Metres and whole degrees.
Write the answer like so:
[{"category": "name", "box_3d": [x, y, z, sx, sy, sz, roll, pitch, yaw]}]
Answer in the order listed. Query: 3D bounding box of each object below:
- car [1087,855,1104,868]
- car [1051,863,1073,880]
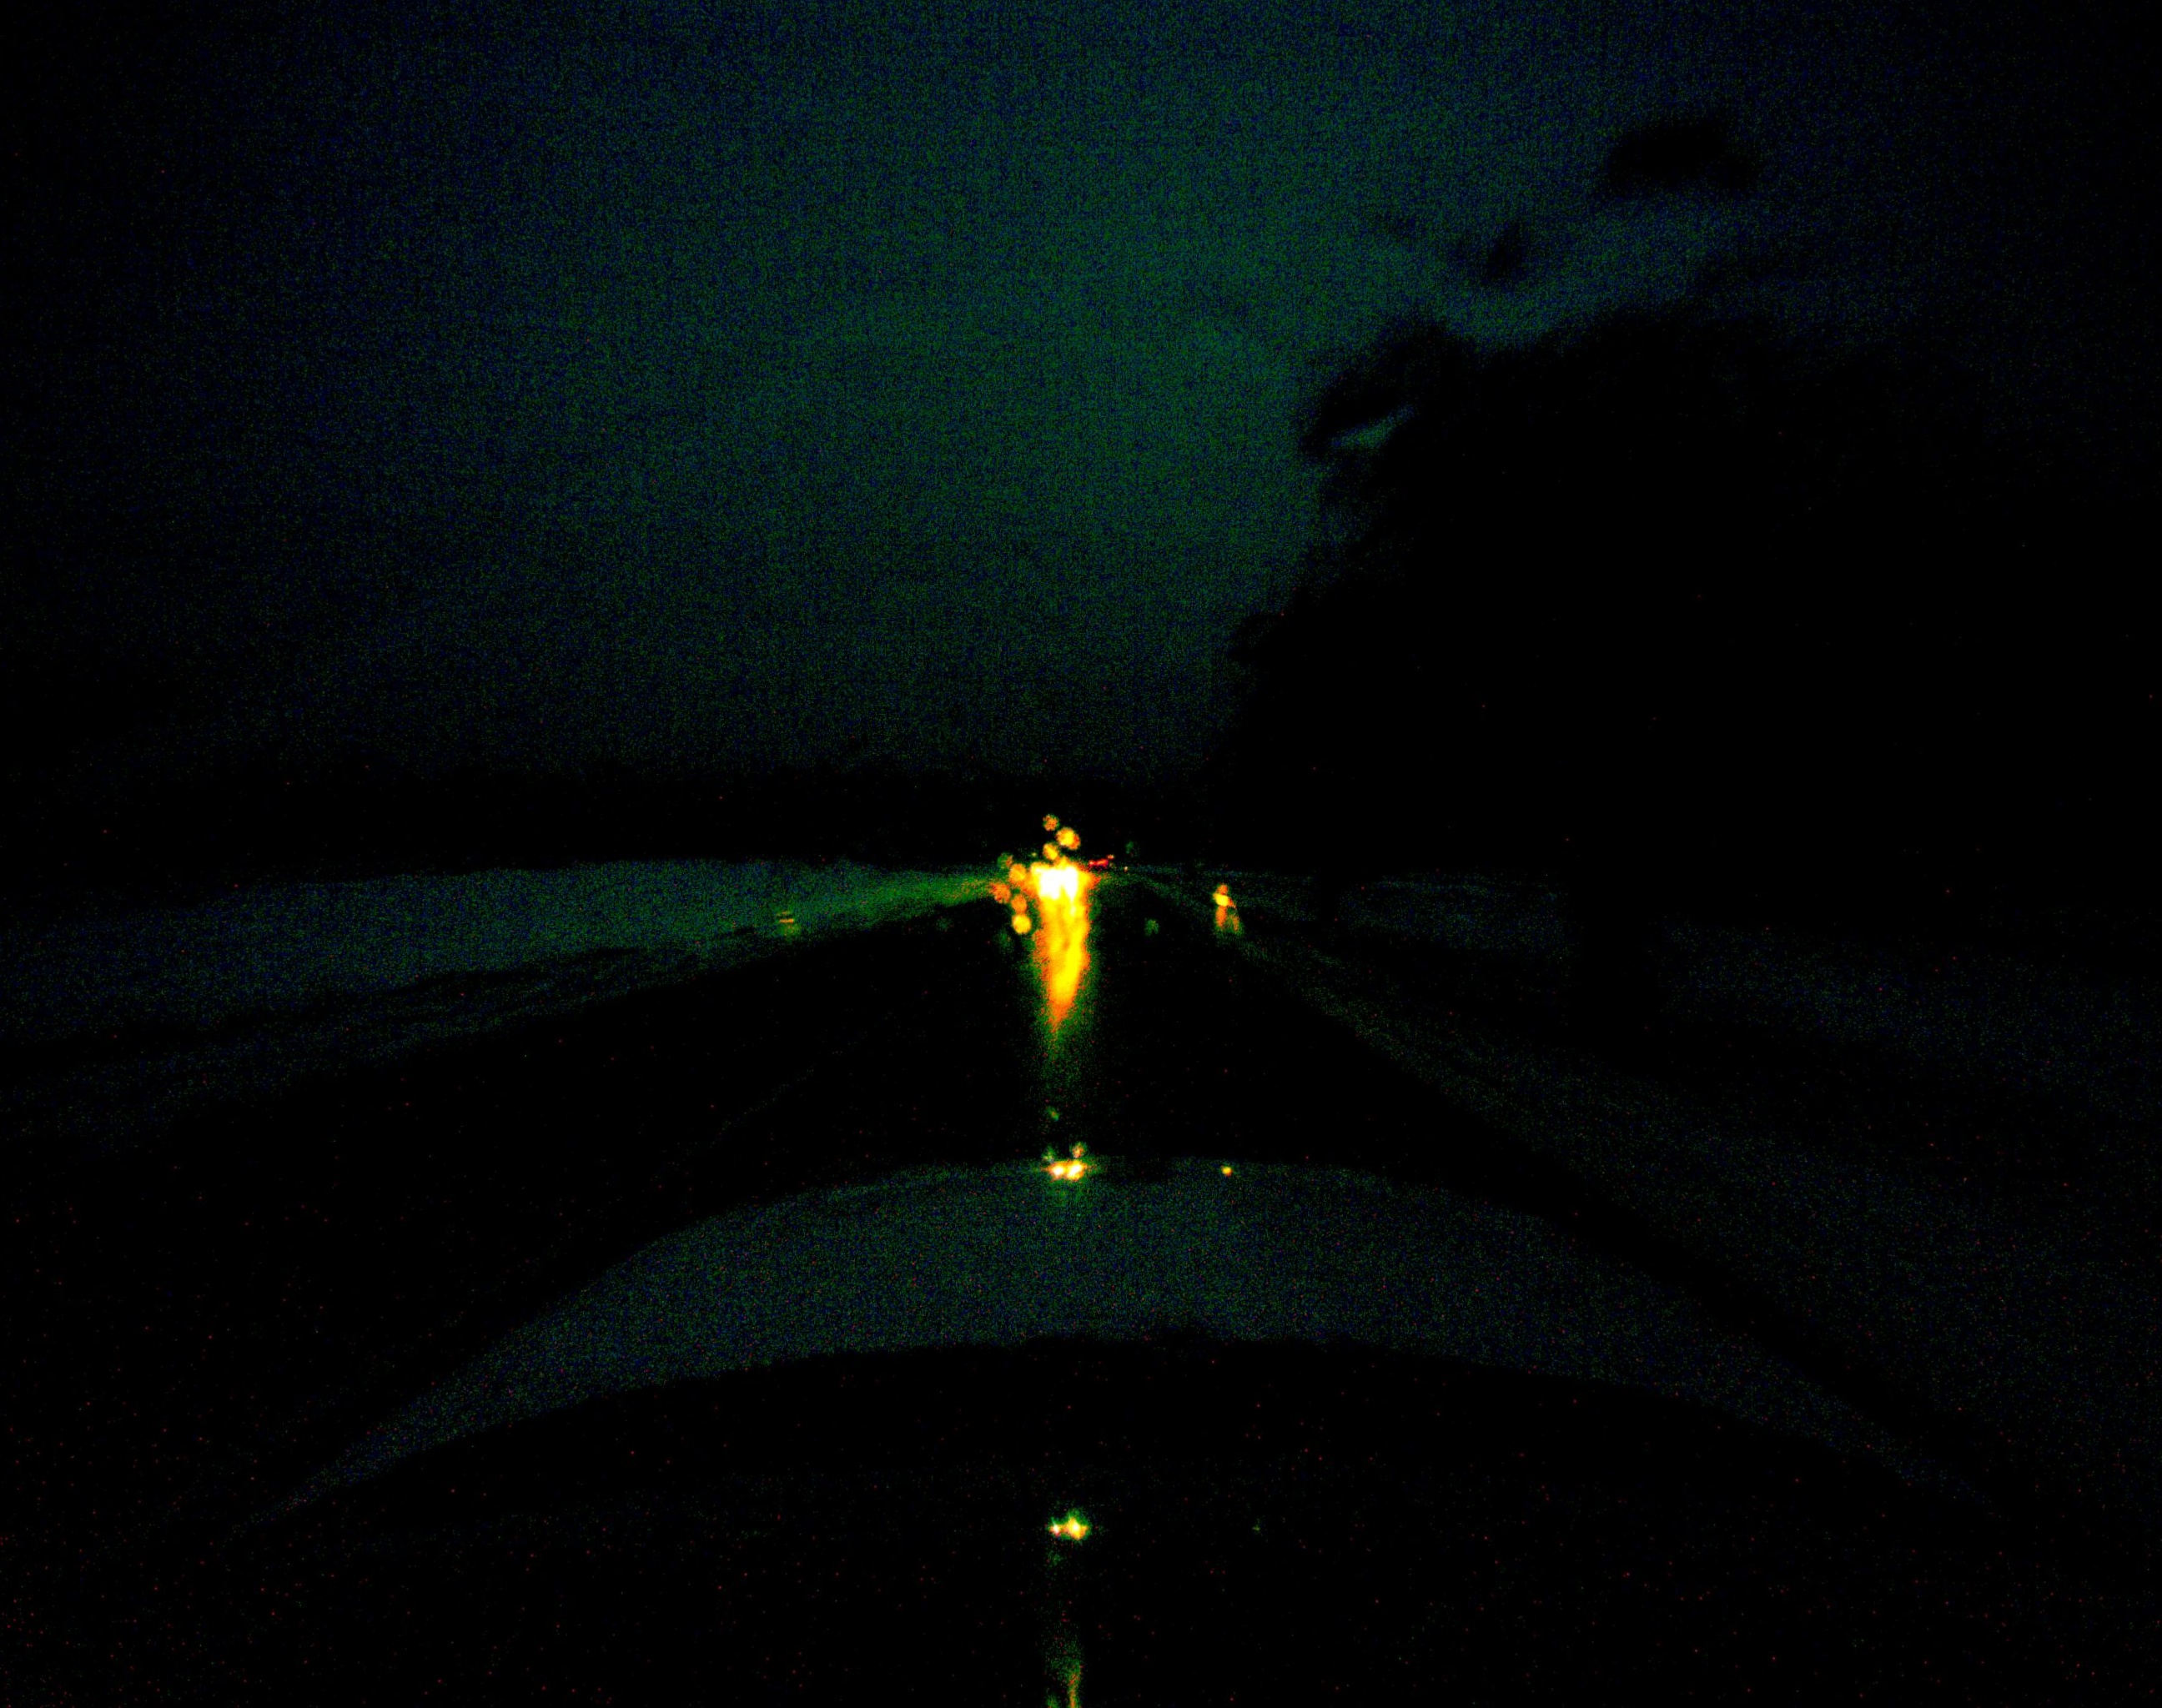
[{"category": "car", "box_3d": [2.650, 1.367, 147.507, 1.978, 2.051, 4.018, 3, 2, 17]}, {"category": "car", "box_3d": [-1.648, 1.507, 71.830, 1.721, 1.346, 4.223, -2, -1, 1]}]
